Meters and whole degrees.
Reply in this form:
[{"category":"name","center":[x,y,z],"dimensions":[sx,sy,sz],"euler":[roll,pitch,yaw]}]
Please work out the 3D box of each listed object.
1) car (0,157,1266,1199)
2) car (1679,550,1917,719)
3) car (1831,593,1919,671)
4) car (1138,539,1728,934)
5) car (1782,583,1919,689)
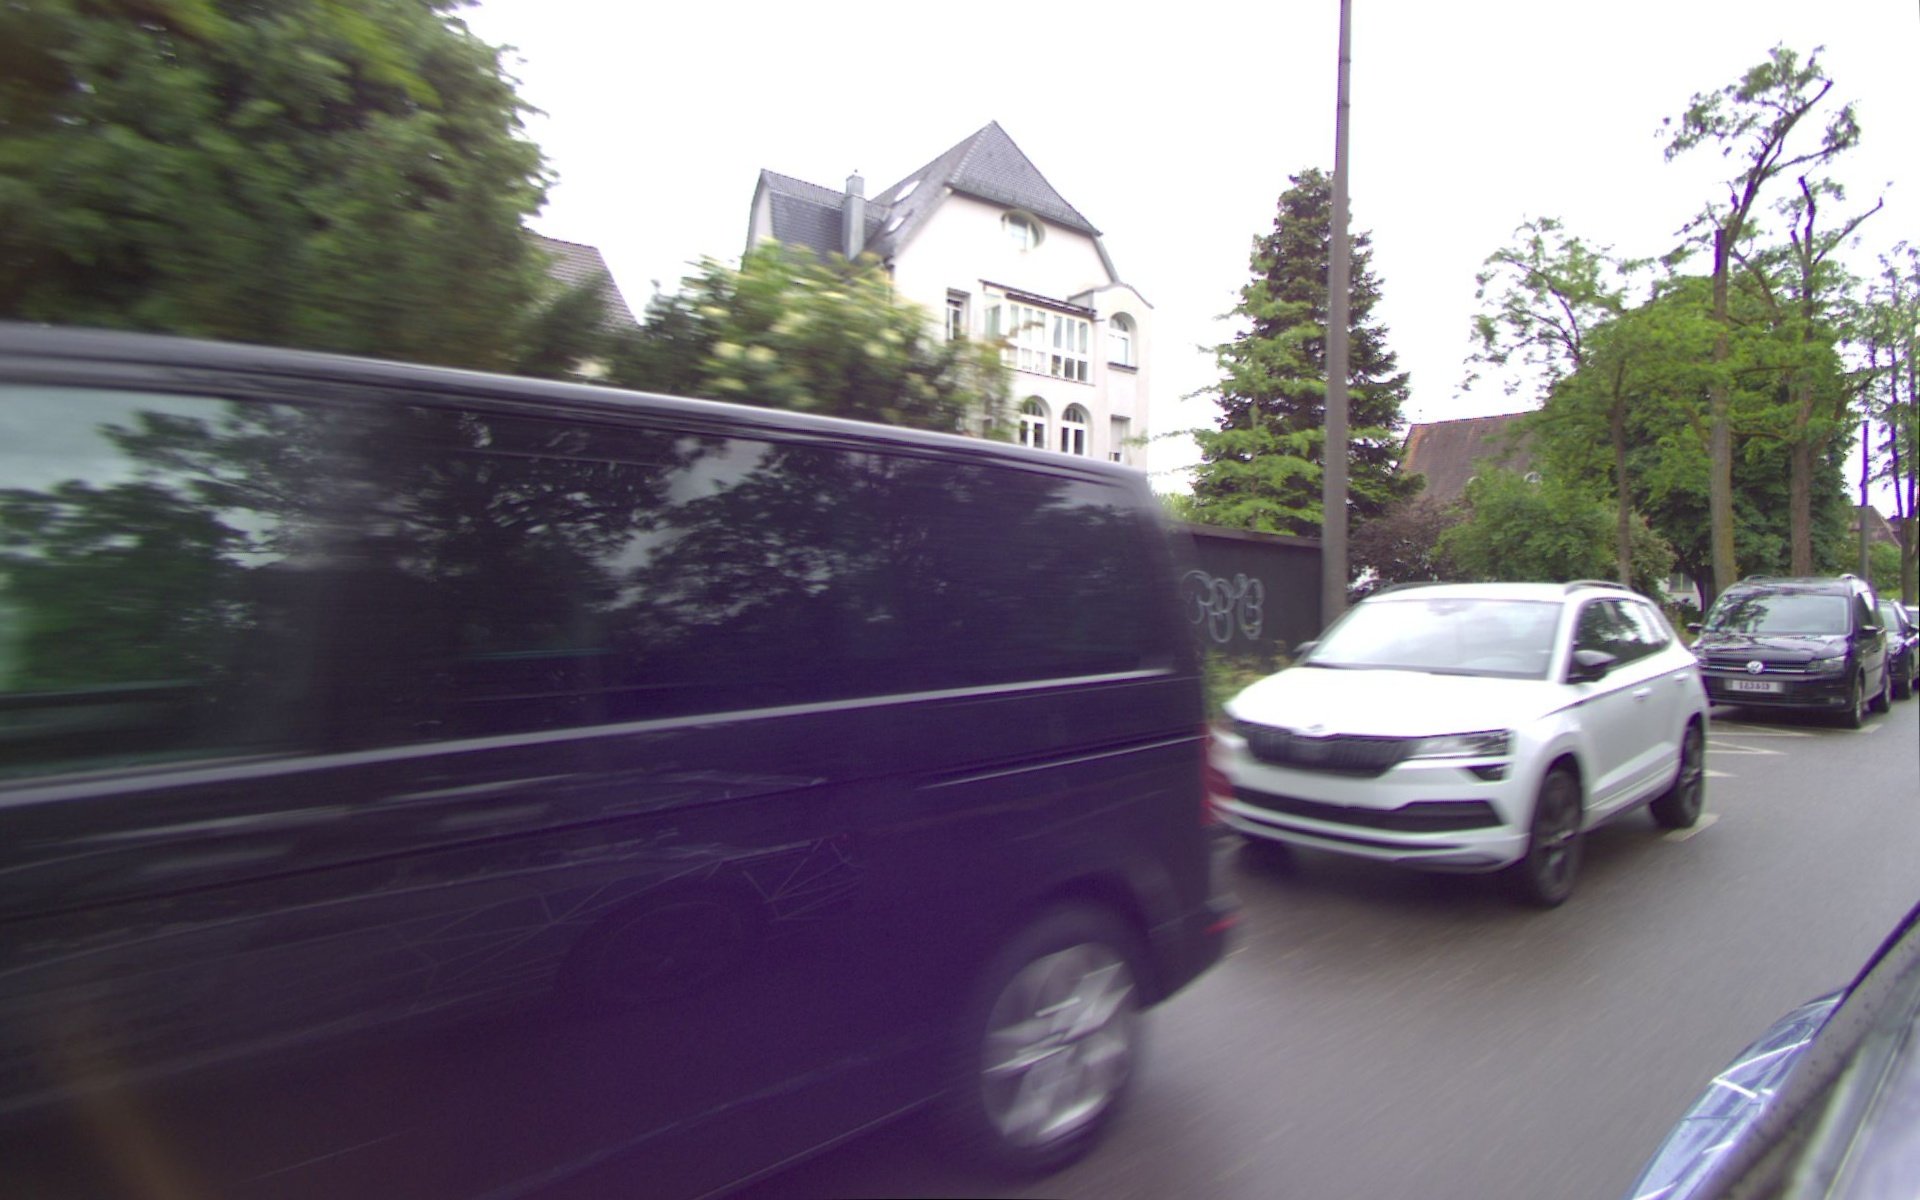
[{"category":"car","center":[-1.529,0.477,2.277],"dimensions":[4.801,2.039,1.997],"euler":[1,-1,-41]},{"category":"car","center":[11.030,0.406,13.225],"dimensions":[4.156,1.871,1.733],"euler":[1,-1,-41]},{"category":"car","center":[19.264,0.631,20.652],"dimensions":[3.659,1.483,1.740],"euler":[1,-1,-41]},{"category":"car","center":[3.141,0.589,6.285],"dimensions":[4.211,1.633,1.807],"euler":[1,-1,-42]},{"category":"car","center":[15.276,0.554,16.939],"dimensions":[4.004,1.575,1.681],"euler":[1,-1,-41]}]
